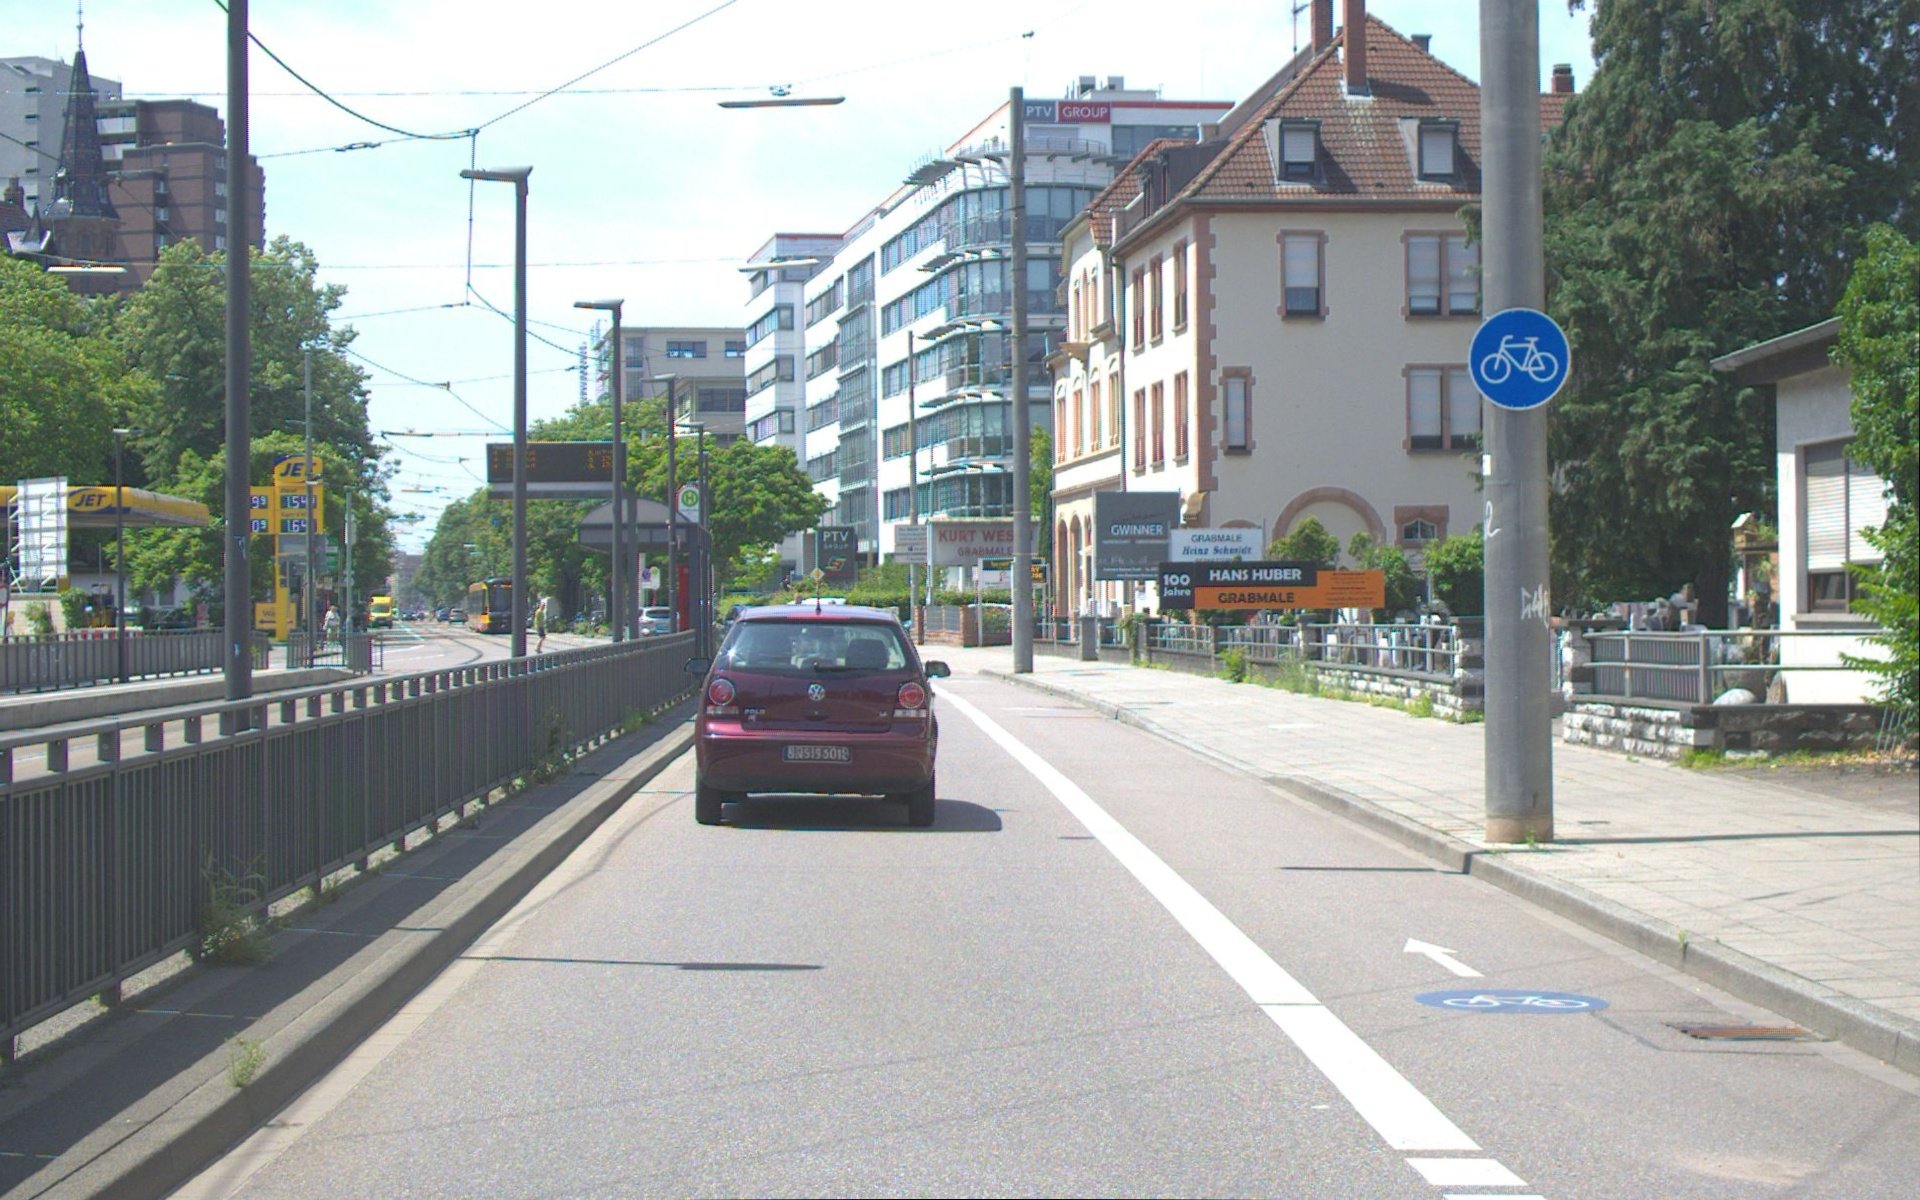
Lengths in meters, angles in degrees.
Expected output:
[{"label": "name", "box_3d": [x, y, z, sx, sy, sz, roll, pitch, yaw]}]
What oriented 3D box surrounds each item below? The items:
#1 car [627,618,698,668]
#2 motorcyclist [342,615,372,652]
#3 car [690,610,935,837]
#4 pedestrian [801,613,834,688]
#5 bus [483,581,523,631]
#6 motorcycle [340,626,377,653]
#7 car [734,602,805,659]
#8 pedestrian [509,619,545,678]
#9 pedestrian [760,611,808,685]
[{"label": "car", "box_3d": [-11.355, 1.626, 130.961, 1.993, 1.842, 4.001, -1, 0, -15]}, {"label": "motorcyclist", "box_3d": [-19.177, 1.061, 109.383, 0.849, 1.136, 0.634, -1, 0, -2]}, {"label": "car", "box_3d": [-1.015, 0.804, 23.831, 1.561, 1.448, 3.062, -1, 0, -2]}, {"label": "pedestrian", "box_3d": [-3.512, 1.243, 84.817, 0.744, 1.830, 0.792, -1, 0, -4]}, {"label": "bus", "box_3d": [-28.312, 0.374, 213.037, 2.144, 2.993, 6.575, -1, 0, -10]}, {"label": "motorcycle", "box_3d": [-19.150, 1.248, 109.503, 0.872, 0.803, 1.910, -1, 0, -2]}, {"label": "car", "box_3d": [-5.684, 0.903, 102.026, 1.993, 1.619, 4.632, -1, 0, -4]}, {"label": "pedestrian", "box_3d": [-14.956, 1.674, 118.723, 1.109, 2.007, 1.039, -1, -1, -1]}, {"label": "pedestrian", "box_3d": [-4.418, 1.201, 86.249, 1.168, 1.830, 0.792, -1, 0, -4]}]
